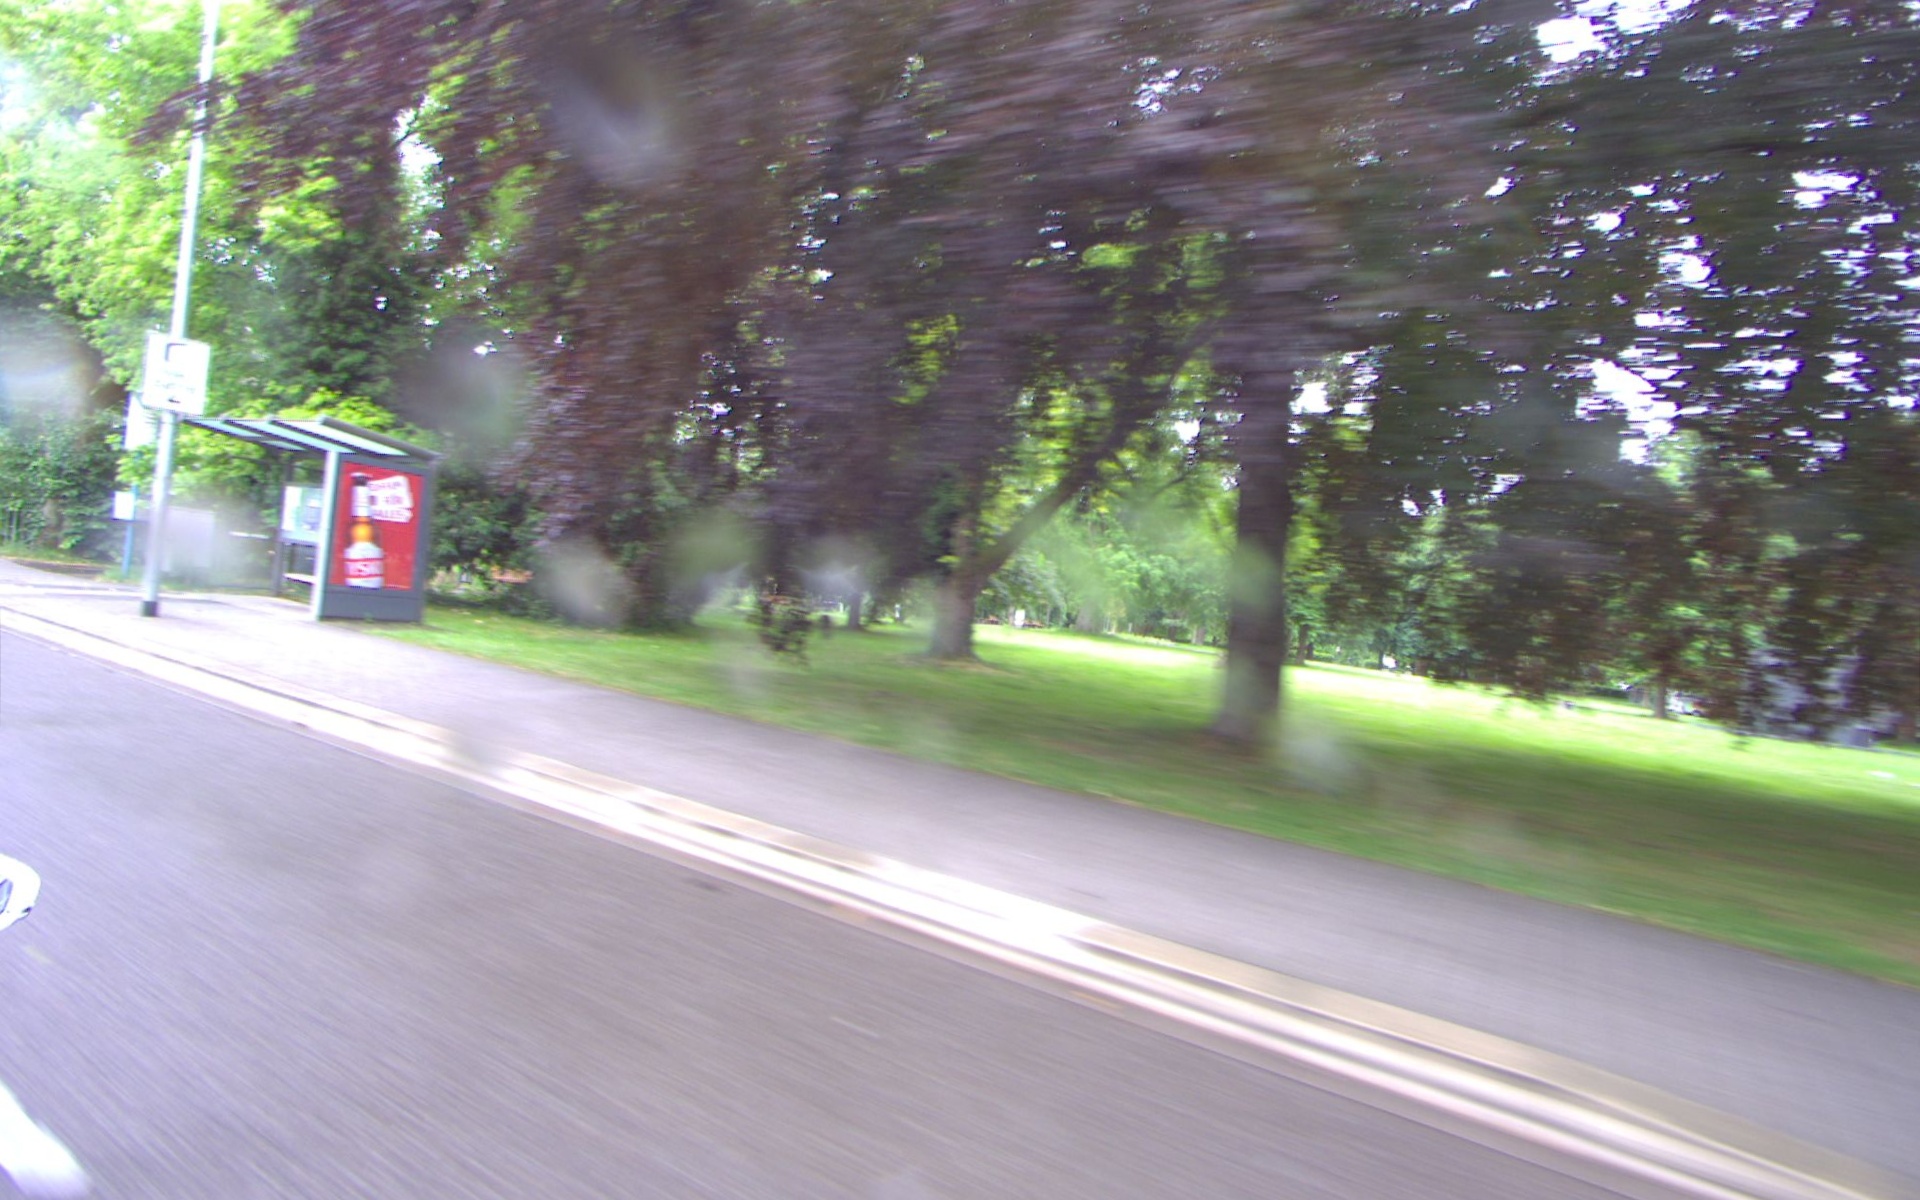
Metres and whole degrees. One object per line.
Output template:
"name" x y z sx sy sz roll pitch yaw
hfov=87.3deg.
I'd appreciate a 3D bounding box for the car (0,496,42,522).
"car" -63.017 -6.116 65.520 1.782 1.393 4.455 9 0 15
